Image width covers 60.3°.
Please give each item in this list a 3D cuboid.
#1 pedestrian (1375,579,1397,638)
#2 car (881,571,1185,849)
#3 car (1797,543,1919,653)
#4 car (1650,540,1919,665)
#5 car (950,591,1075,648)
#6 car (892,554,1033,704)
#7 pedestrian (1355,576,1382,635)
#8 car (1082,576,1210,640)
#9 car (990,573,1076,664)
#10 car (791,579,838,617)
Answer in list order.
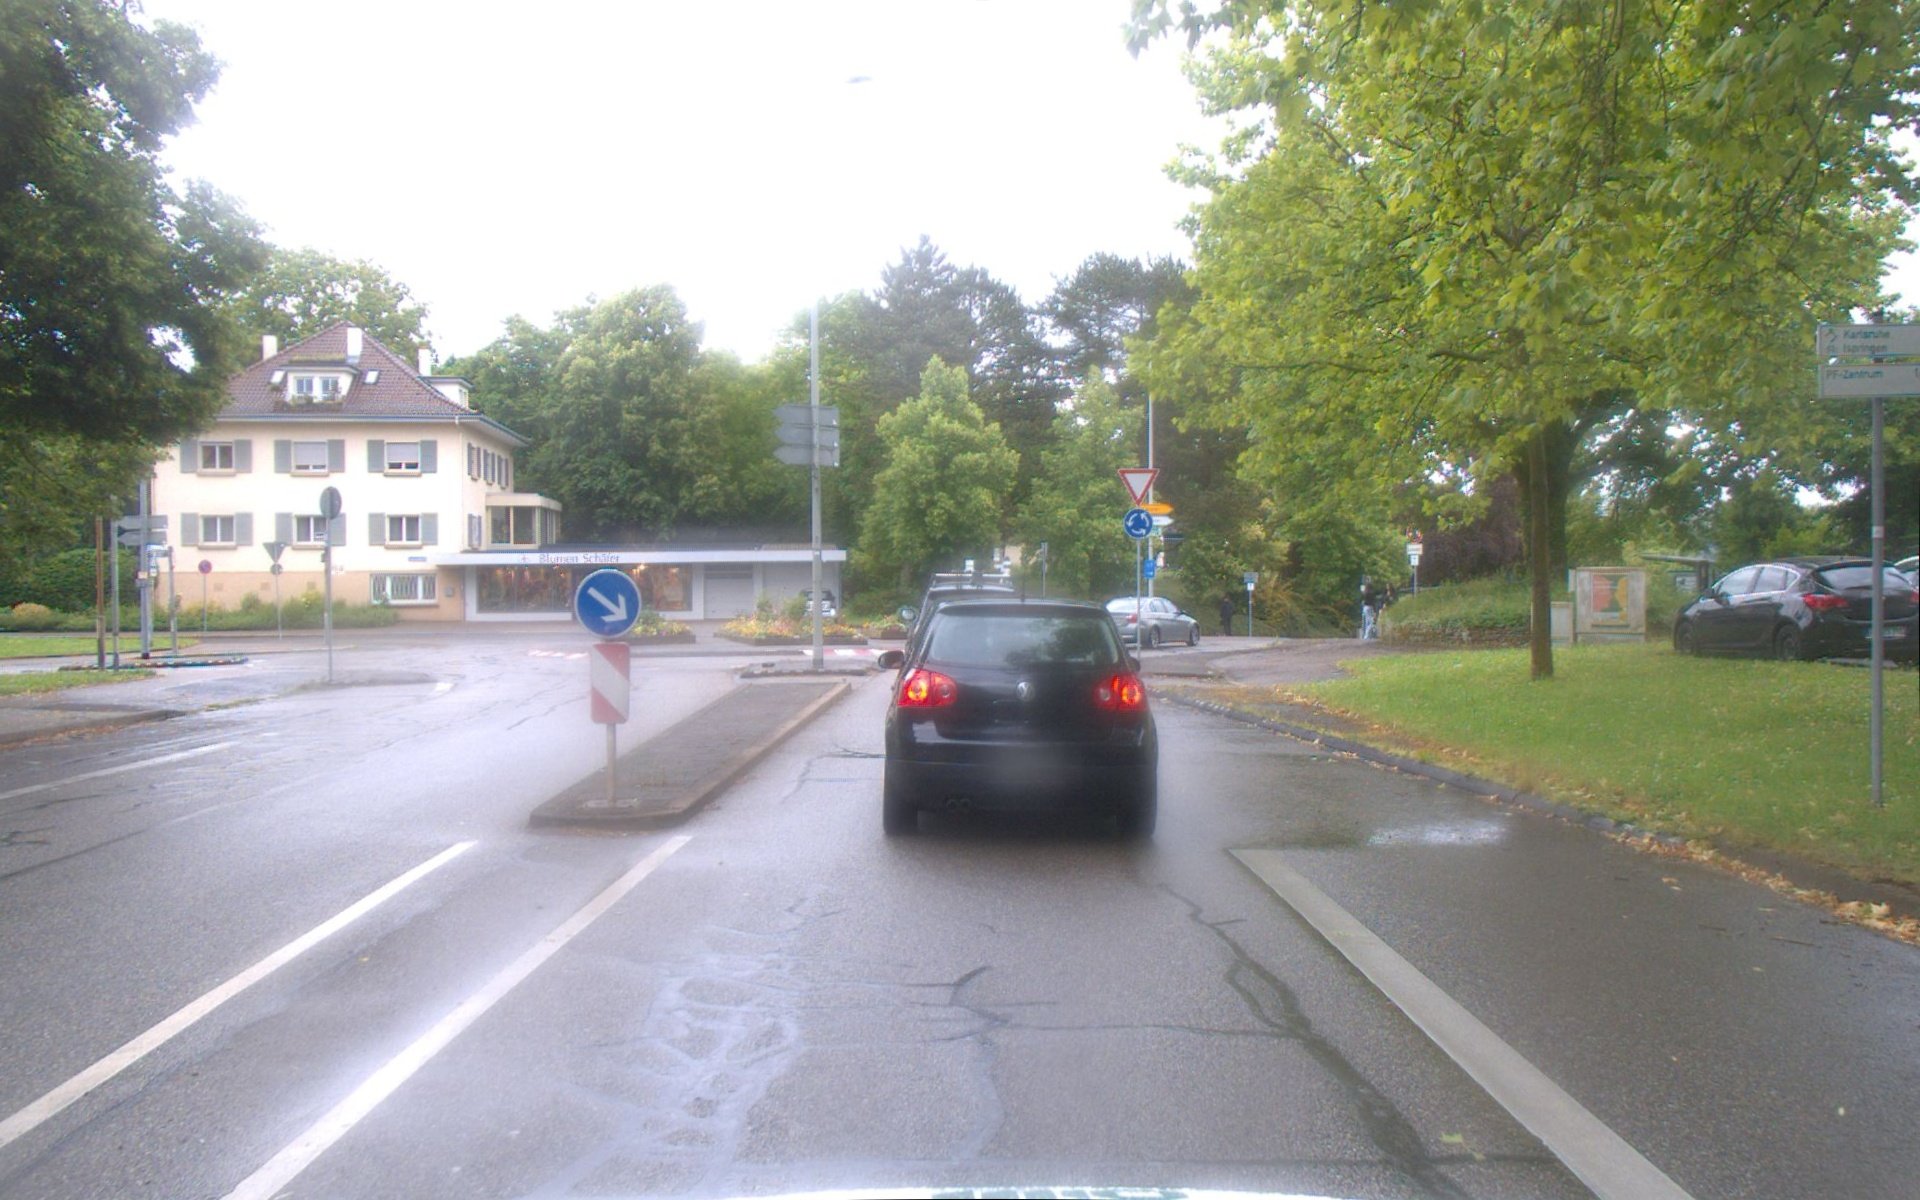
[{"bbox_3d":[12.732,0.266,49.434,0.620,1.743,0.530,1,-1,15],"label":"pedestrian"},{"bbox_3d":[0.541,0.611,11.521,1.728,1.565,4.002,1,1,3],"label":"car"},{"bbox_3d":[13.854,-0.054,23.165,1.809,1.497,4.423,-2,0,-3],"label":"car"},{"bbox_3d":[11.457,0.030,22.820,1.729,1.496,4.596,-2,0,-2],"label":"car"},{"bbox_3d":[1.700,0.625,54.713,1.980,1.772,4.086,1,0,-39],"label":"car"},{"bbox_3d":[-0.053,0.376,22.899,1.729,1.833,4.244,-1,0,-2],"label":"car"},{"bbox_3d":[12.082,0.162,48.907,0.519,1.743,0.633,1,-1,-15],"label":"pedestrian"},{"bbox_3d":[5.258,0.235,46.261,1.958,1.713,4.021,1,0,33],"label":"car"},{"bbox_3d":[1.594,0.379,36.289,1.728,1.833,4.247,-2,0,2],"label":"car"},{"bbox_3d":[-6.245,-0.092,70.713,1.778,1.512,3.824,-2,0,-8],"label":"car"}]
